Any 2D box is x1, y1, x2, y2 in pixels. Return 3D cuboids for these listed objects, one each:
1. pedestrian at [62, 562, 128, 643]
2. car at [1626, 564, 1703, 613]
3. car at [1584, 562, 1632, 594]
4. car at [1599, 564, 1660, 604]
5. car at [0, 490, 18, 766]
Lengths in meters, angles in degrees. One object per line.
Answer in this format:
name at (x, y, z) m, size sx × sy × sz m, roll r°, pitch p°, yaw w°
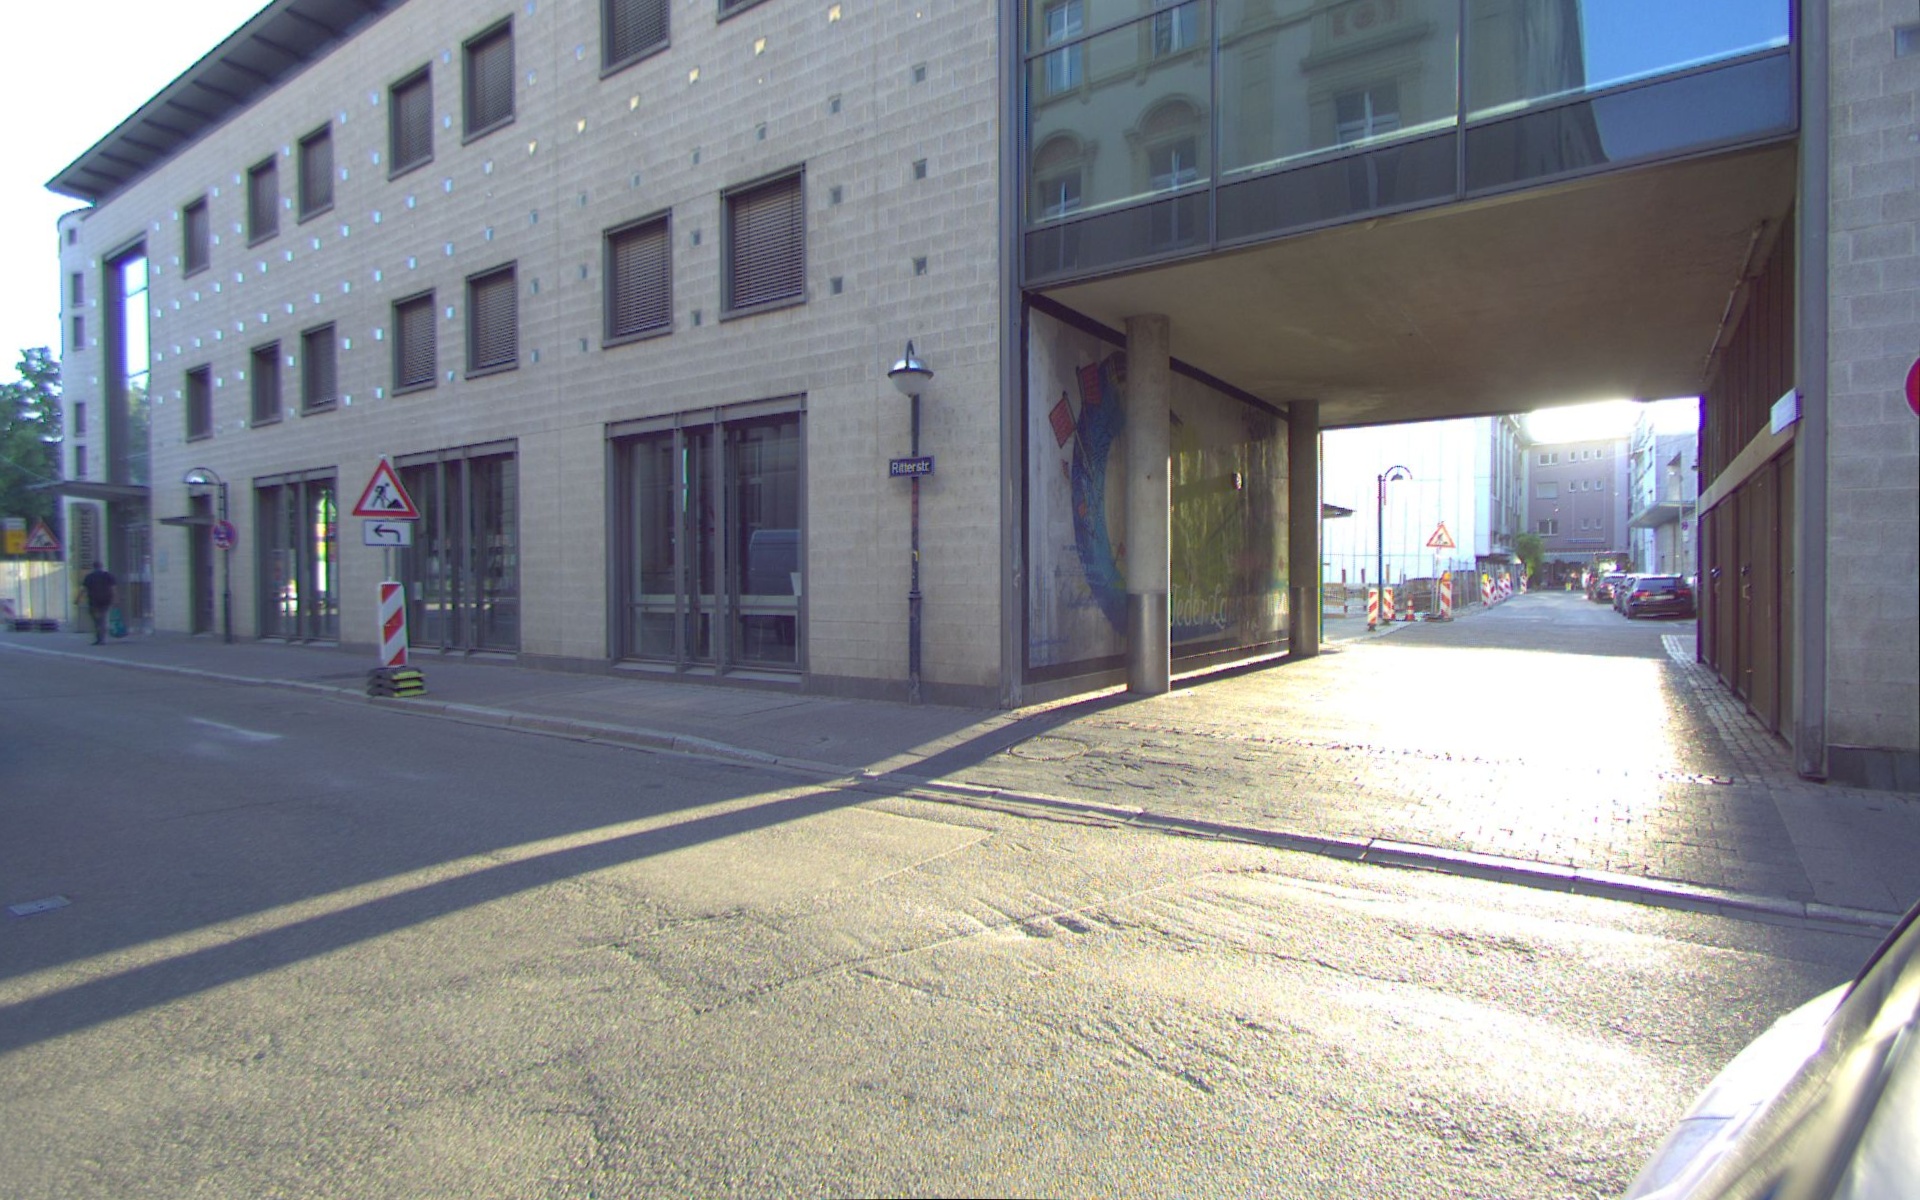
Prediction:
pedestrian at (-18.807, 0.042, 22.000) m, size 0.863 × 1.723 × 0.914 m, roll 1°, pitch 1°, yaw 35°
car at (22.864, -0.391, 32.945) m, size 1.586 × 1.512 × 3.413 m, roll 0°, pitch 1°, yaw 27°
car at (31.541, -1.075, 49.330) m, size 1.586 × 1.512 × 3.413 m, roll 0°, pitch 1°, yaw 27°
car at (26.188, -0.638, 39.685) m, size 1.586 × 1.512 × 3.413 m, roll 0°, pitch 1°, yaw 27°
car at (-10.504, 0.008, 8.733) m, size 6.424 × 2.542 × 1.979 m, roll 1°, pitch 4°, yaw 34°
